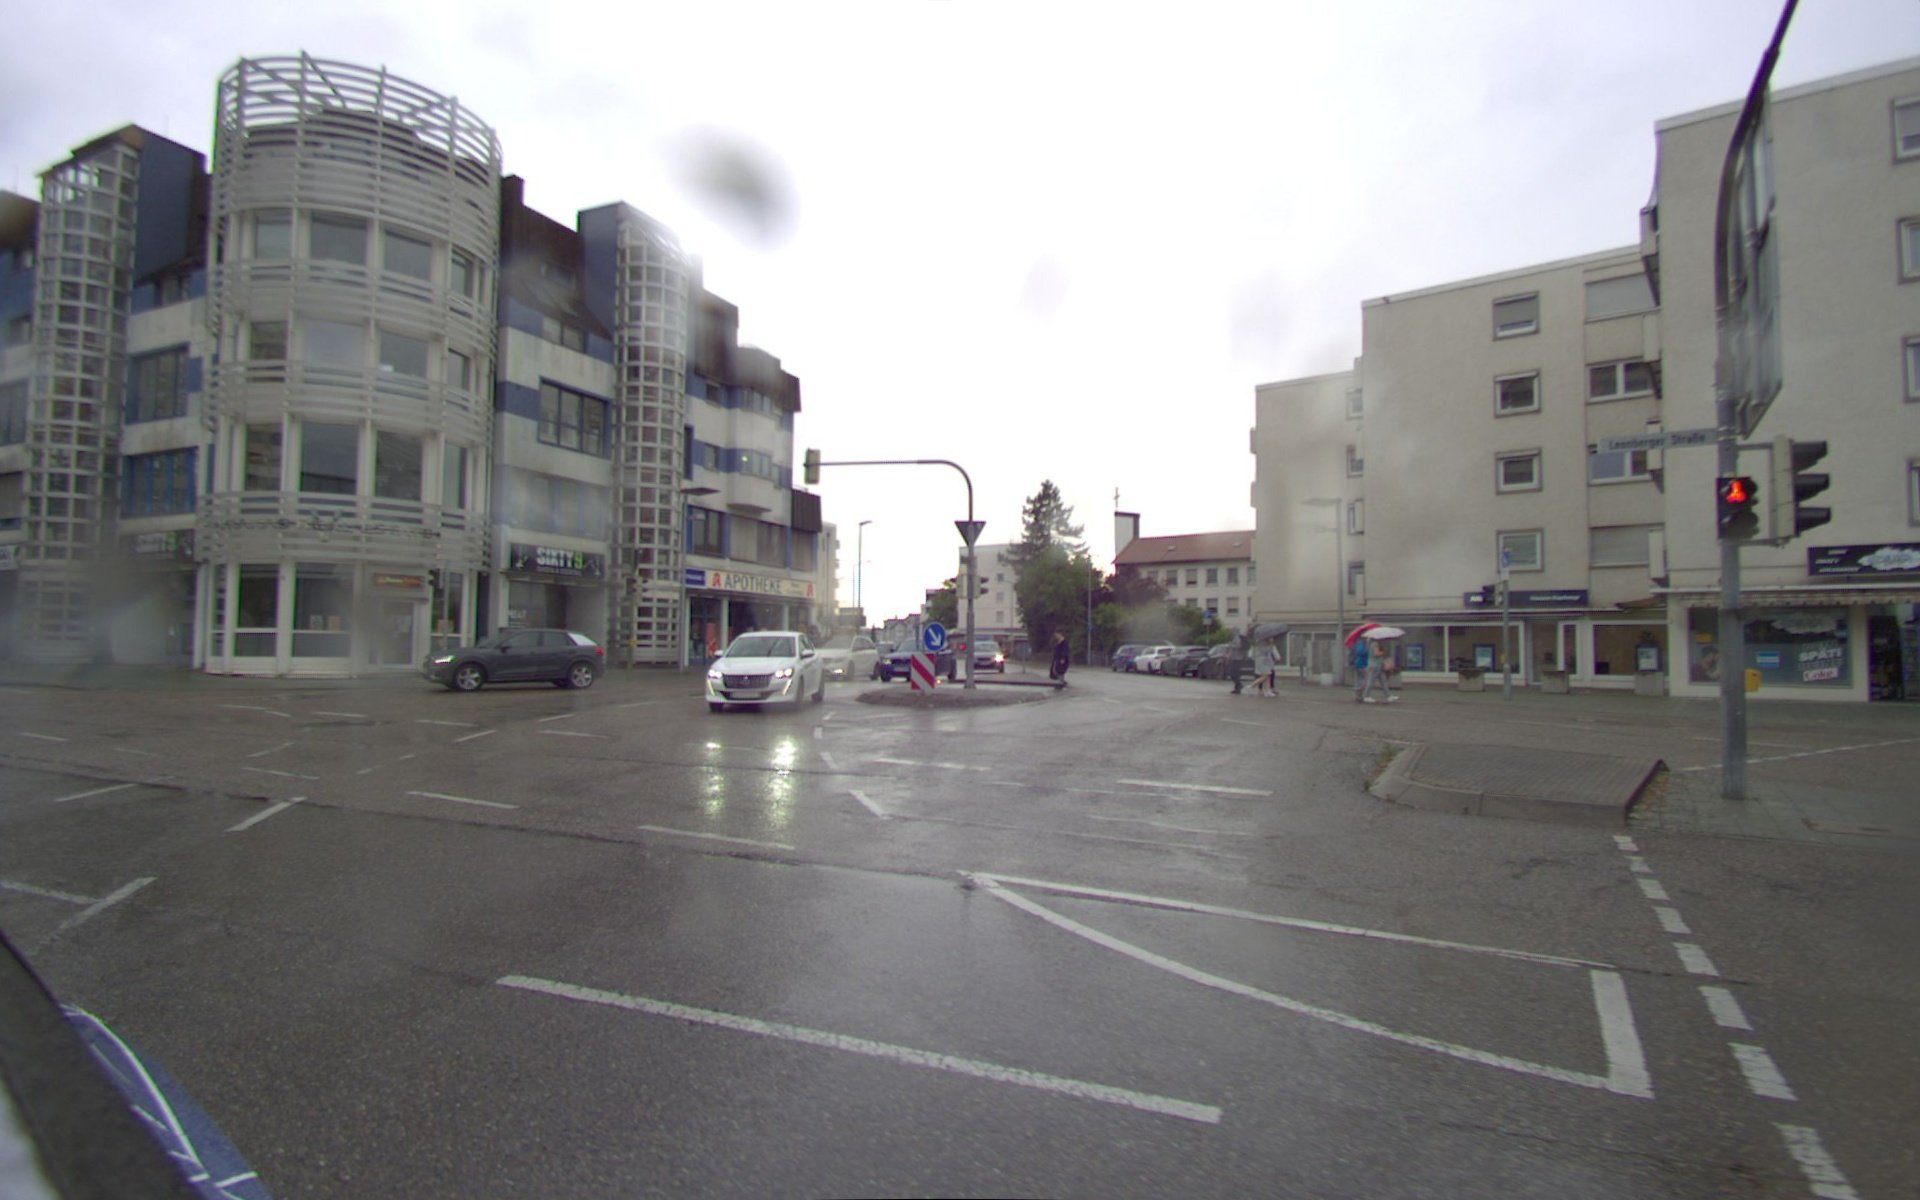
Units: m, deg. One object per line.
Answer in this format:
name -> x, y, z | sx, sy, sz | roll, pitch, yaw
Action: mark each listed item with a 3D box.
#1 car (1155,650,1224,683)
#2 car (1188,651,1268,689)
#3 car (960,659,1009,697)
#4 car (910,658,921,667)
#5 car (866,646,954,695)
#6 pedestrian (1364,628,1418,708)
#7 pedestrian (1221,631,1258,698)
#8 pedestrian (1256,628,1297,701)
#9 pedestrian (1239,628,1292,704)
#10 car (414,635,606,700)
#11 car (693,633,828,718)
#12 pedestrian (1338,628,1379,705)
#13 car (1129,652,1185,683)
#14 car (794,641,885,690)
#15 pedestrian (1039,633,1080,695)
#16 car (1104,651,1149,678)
car -> 10.689, 3.102, 47.388 | 1.809, 1.445, 4.279 | 0, -3, -6
car -> 11.067, 2.881, 42.069 | 1.809, 1.471, 4.193 | 0, -3, -6
car -> 1.168, 3.592, 46.862 | 1.975, 1.628, 3.993 | -2, -3, 5
car -> -7.812, 10.946, 177.472 | 1.844, 1.448, 3.744 | 1, -3, -5
car -> -1.563, 2.254, 32.976 | 1.736, 1.466, 3.793 | 0, -3, 16
pedestrian -> 9.329, 1.457, 21.955 | 0.930, 1.690, 0.912 | 0, -3, 16
pedestrian -> 7.141, 1.638, 25.888 | 0.705, 1.668, 0.814 | 1, -3, 1
pedestrian -> 7.745, 1.572, 24.769 | 0.827, 1.749, 0.951 | 0, -3, 10
pedestrian -> 7.210, 1.545, 23.962 | 1.127, 1.757, 0.856 | 0, -3, 14
car -> -11.007, 1.614, 24.889 | 3.983, 1.455, 1.738 | 2, -4, -40
car -> -3.724, 1.445, 19.507 | 1.720, 1.420, 3.893 | -1, -4, 2
pedestrian -> 9.032, 1.500, 22.956 | 0.666, 1.698, 0.805 | 0, -3, 7
car -> 10.178, 3.466, 52.604 | 1.612, 1.511, 4.351 | 1, -3, -6
car -> -3.997, 2.220, 34.126 | 1.718, 1.540, 4.044 | -1, -4, 14
pedestrian -> 2.625, 1.687, 26.776 | 0.646, 1.597, 0.916 | 3, -4, -31
car -> 9.529, 3.687, 58.131 | 1.609, 1.517, 3.885 | 1, -3, -5
